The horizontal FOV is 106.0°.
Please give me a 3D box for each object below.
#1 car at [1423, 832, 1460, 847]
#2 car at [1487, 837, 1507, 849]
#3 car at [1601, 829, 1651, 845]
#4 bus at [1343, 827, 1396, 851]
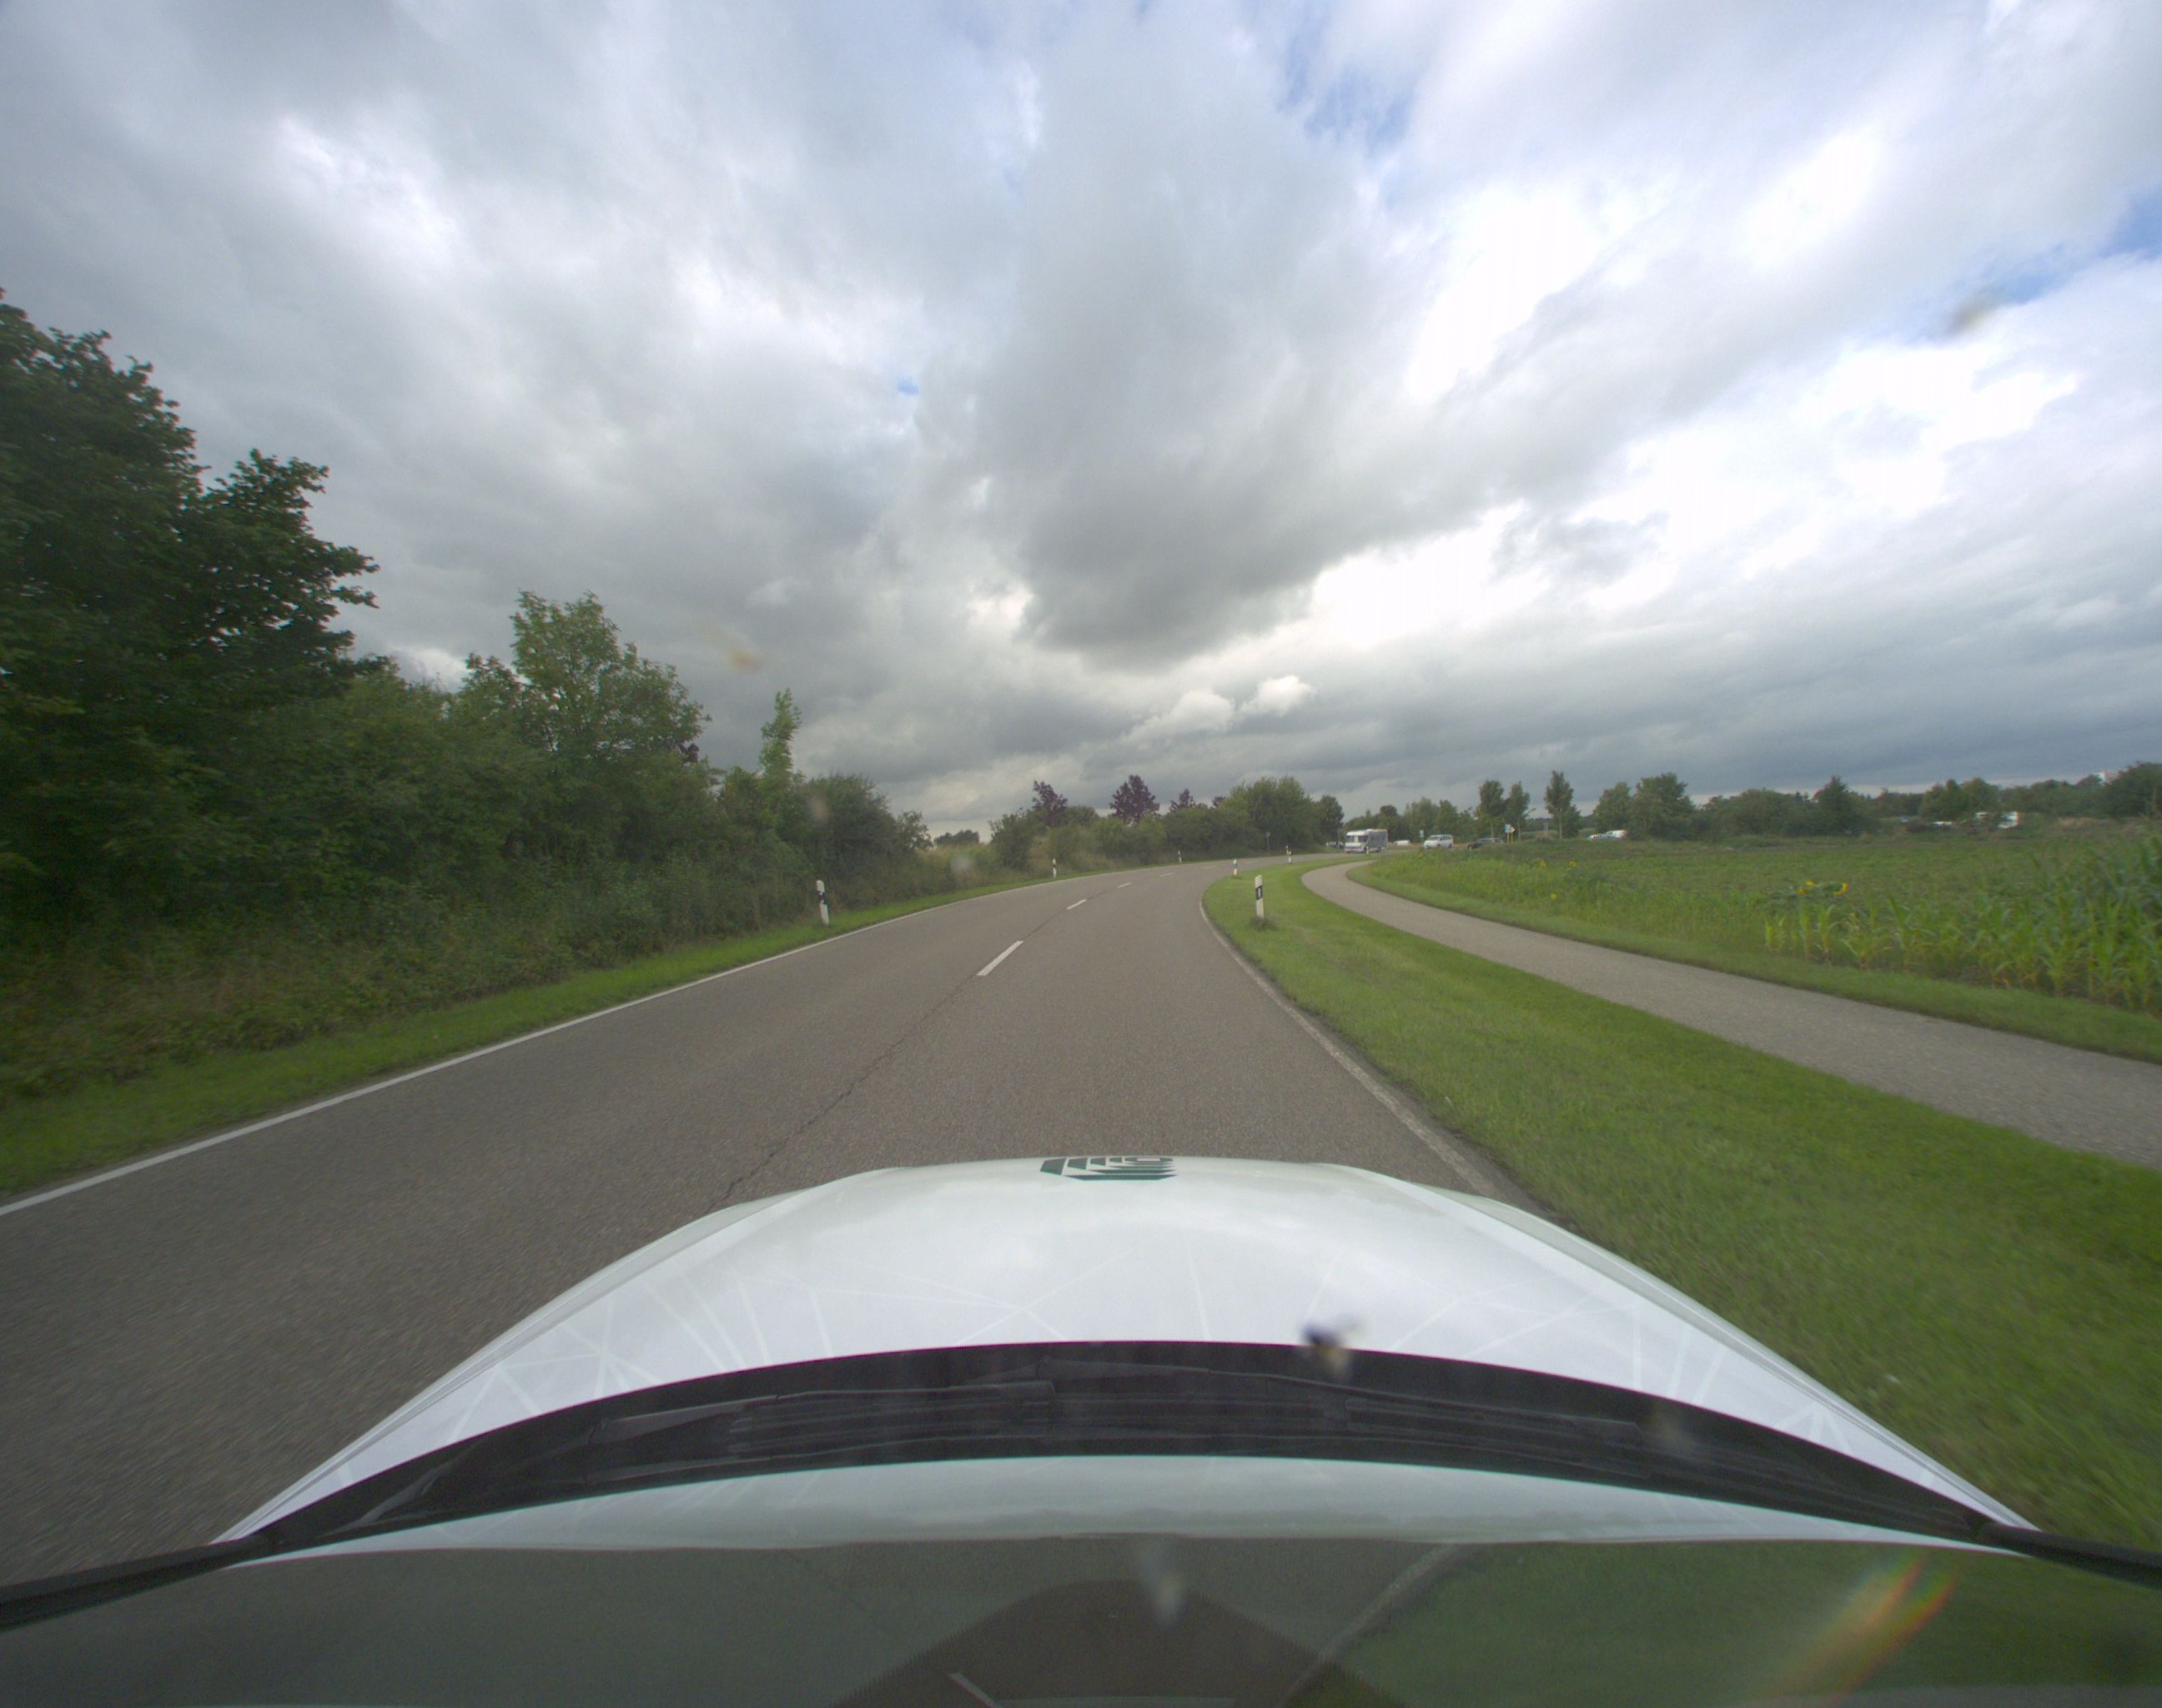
[{"bbox_3d":[48.984,-1.964,110.665,5.206,1.868,2.098,-2,0,-33],"label":"car"},{"bbox_3d":[51.136,-1.382,100.161,1.825,1.417,4.021,-1,0,21],"label":"car"},{"bbox_3d":[69.004,-2.137,103.158,1.965,1.974,4.905,-2,0,-39],"label":"car"},{"bbox_3d":[34.751,-1.846,98.006,8.479,2.711,2.452,-2,0,-44],"label":"bus"}]
